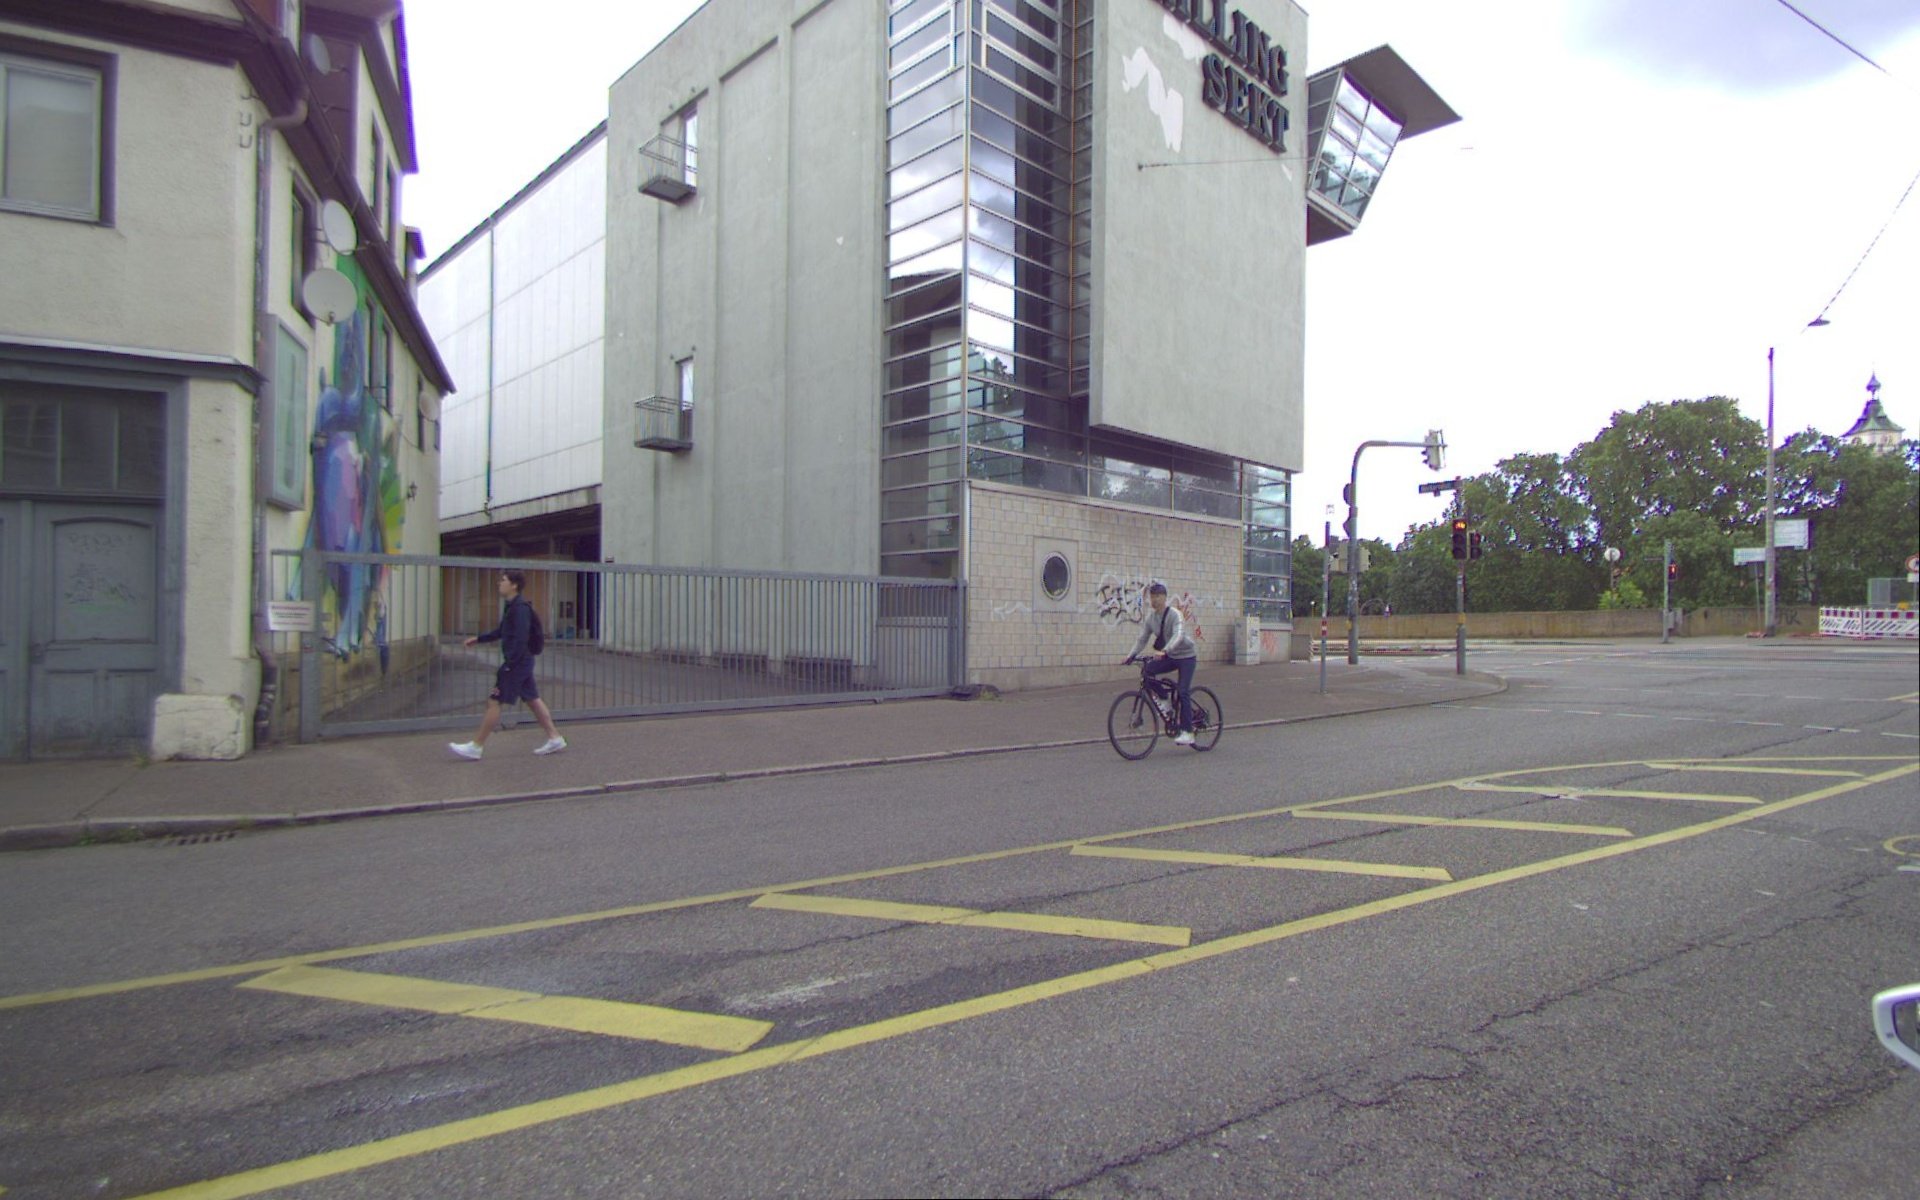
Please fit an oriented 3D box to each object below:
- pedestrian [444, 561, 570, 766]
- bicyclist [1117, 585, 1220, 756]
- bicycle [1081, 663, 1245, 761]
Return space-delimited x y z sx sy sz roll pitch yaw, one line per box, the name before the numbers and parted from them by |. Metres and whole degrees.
pedestrian | -4.543 0.587 10.064 1.077 1.911 1.050 -1 1 -27
bicyclist | 2.211 0.721 10.661 0.802 1.723 0.719 1 -1 -32
bicycle | 2.170 1.152 10.633 1.859 0.904 0.538 1 -1 -33
